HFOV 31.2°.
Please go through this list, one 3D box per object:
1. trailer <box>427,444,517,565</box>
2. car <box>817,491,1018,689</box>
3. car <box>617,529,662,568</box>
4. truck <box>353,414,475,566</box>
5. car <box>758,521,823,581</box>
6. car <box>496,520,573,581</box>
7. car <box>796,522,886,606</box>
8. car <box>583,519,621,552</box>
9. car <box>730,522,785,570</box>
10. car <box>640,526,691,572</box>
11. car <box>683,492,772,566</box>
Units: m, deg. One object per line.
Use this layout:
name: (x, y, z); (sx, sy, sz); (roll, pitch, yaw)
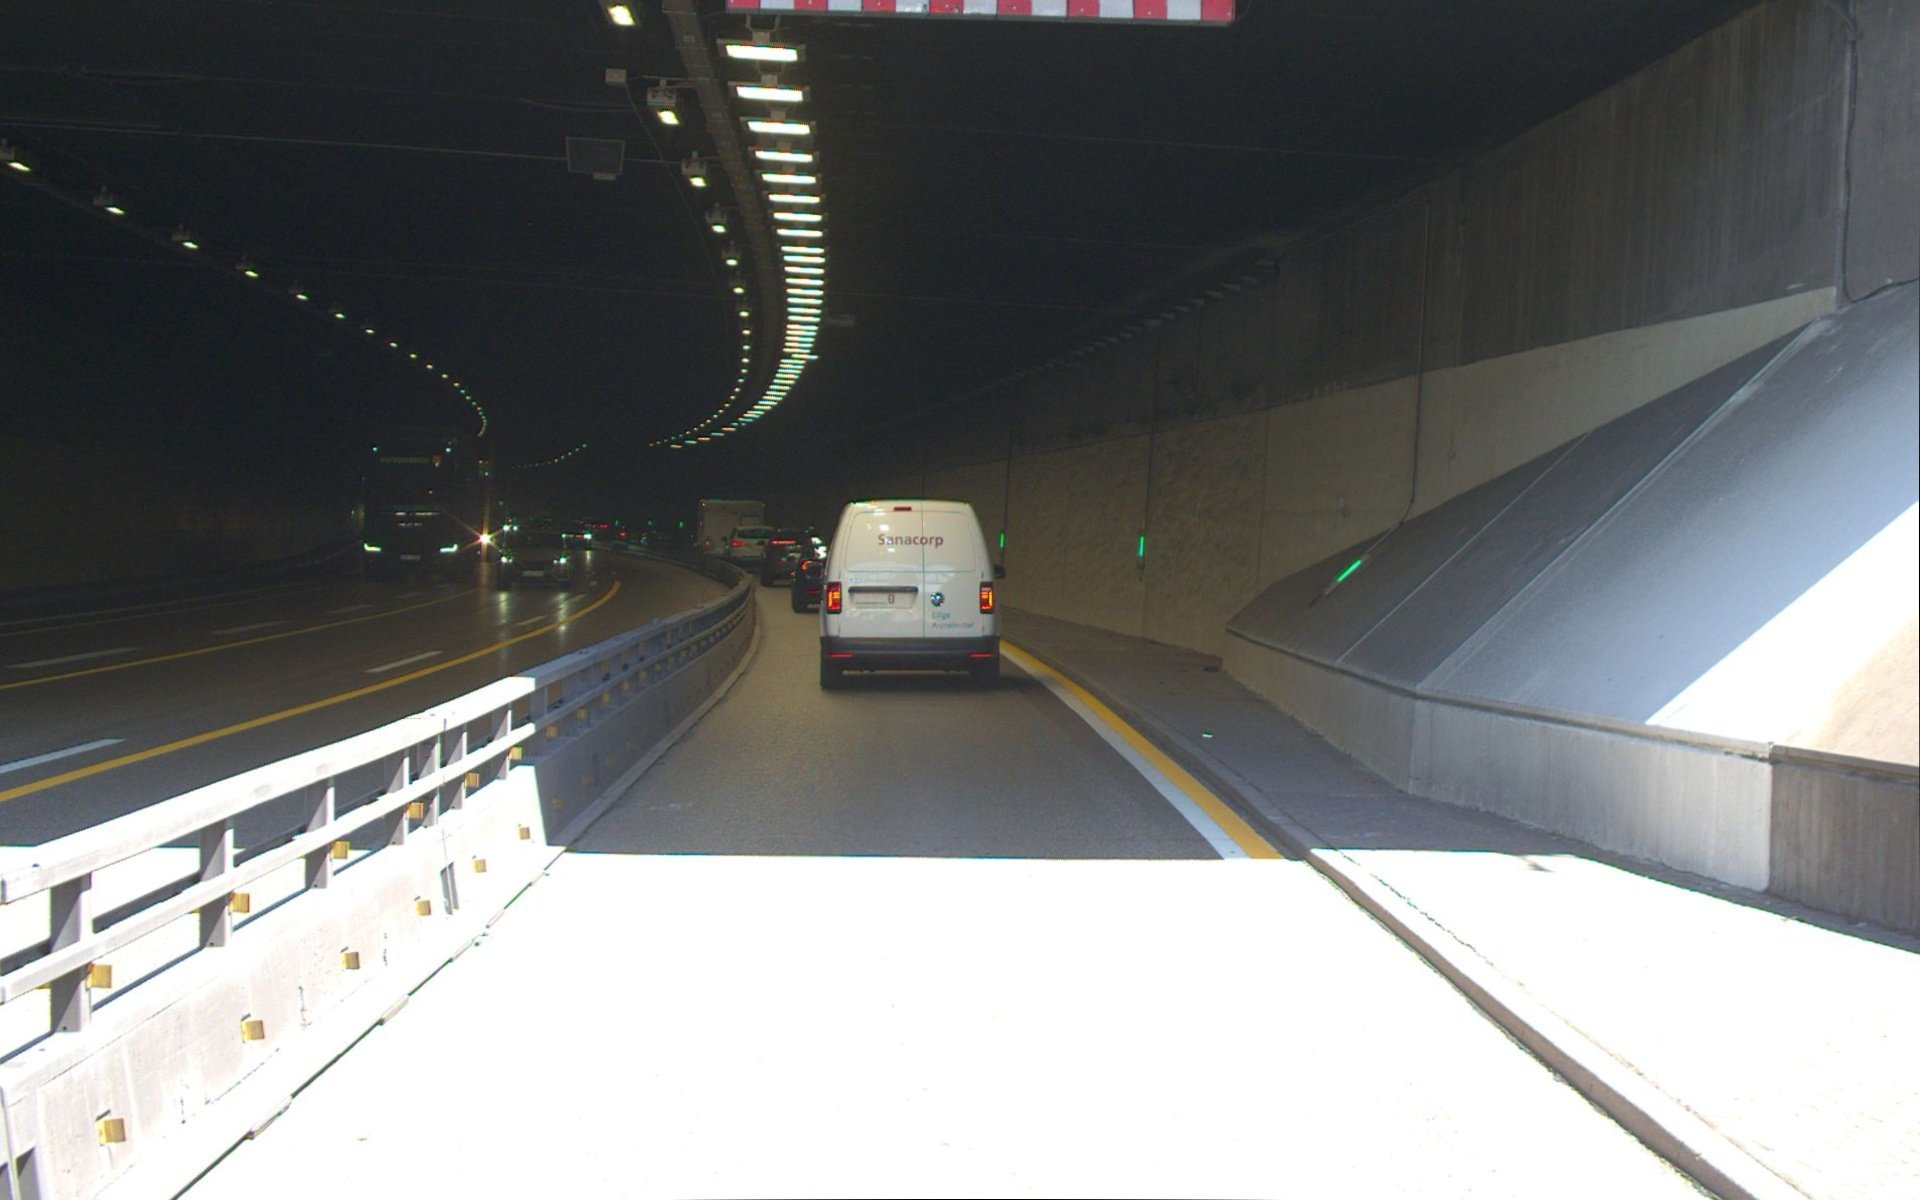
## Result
trailer: (-17.736, -3.454, 125.600); (2.644, 4.120, 15.464); (1, 1, -6)
car: (-0.432, -0.112, 34.142); (1.808, 1.788, 3.731); (2, 0, -1)
car: (-17.094, -2.774, 183.297); (1.939, 2.014, 4.663); (1, 1, -11)
truck: (-14.554, -2.903, 91.976); (2.810, 3.902, 6.457); (1, 1, -6)
car: (-4.516, -1.304, 91.033); (1.598, 1.541, 3.678); (1, 1, -4)
car: (-10.488, -1.231, 84.894); (1.821, 1.451, 4.094); (0, 1, -7)
car: (-2.292, -0.714, 65.524); (1.598, 1.541, 3.678); (1, 1, -4)
car: (-22.219, -4.018, 213.203); (1.939, 2.014, 4.663); (0, 1, -11)
car: (-6.709, -1.791, 113.863); (1.598, 1.541, 3.678); (0, 1, -7)
car: (-14.411, -2.502, 168.117); (2.034, 2.014, 4.633); (5, 1, -9)
car: (-8.979, -2.731, 132.061); (2.813, 2.764, 7.103); (0, 1, -9)
